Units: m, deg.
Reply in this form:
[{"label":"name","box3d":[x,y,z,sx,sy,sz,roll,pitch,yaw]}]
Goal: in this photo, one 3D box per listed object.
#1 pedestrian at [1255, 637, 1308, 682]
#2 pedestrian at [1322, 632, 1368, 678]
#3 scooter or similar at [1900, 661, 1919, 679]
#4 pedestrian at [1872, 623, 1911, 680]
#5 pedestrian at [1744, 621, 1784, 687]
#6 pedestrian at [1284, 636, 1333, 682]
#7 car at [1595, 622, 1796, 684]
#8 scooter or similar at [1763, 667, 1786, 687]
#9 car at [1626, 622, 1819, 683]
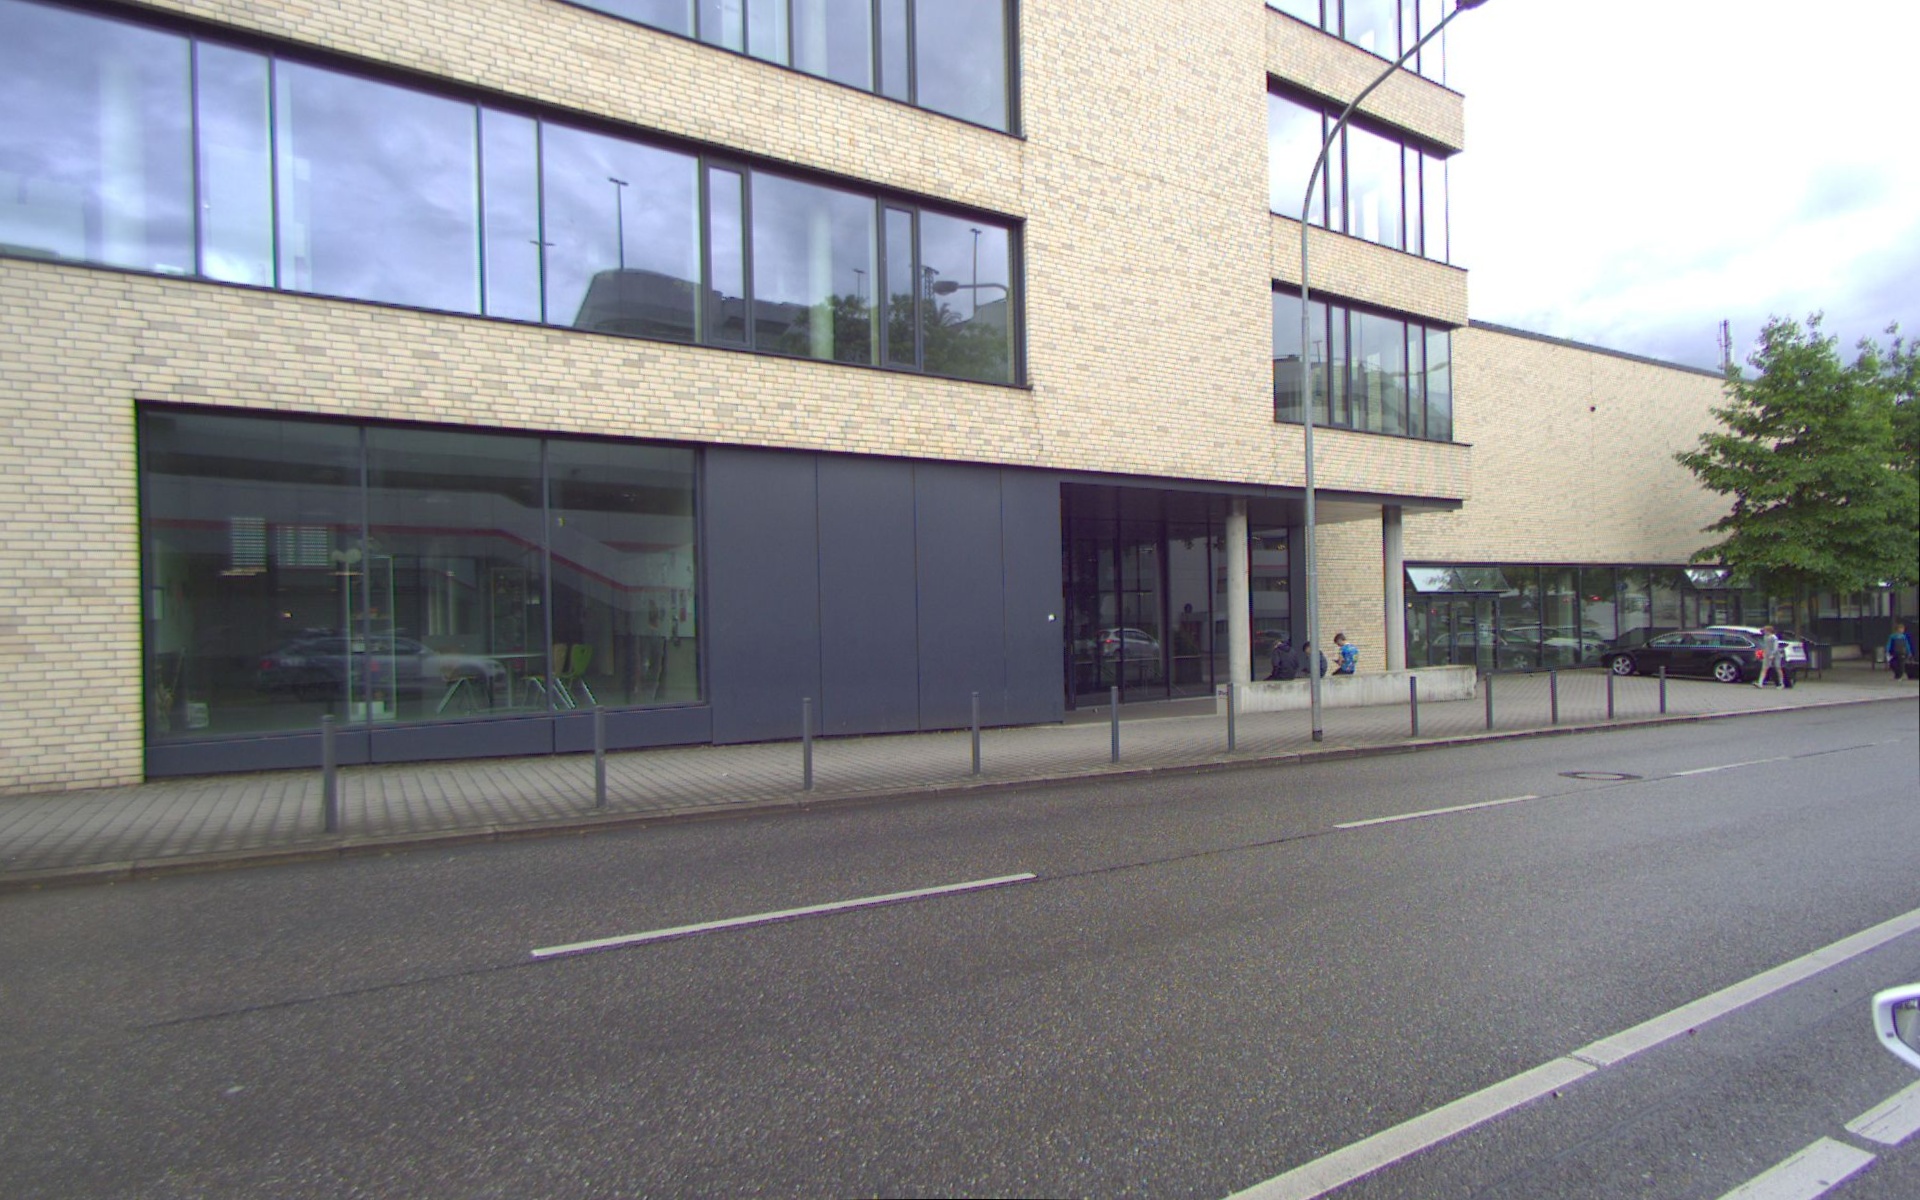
[{"label":"pedestrian","box3d":[6.142,1.132,19.205,0.751,0.796,0.595,2,0,-30]},{"label":"pedestrian","box3d":[7.803,1.111,20.364,0.519,0.897,0.677,2,0,-33]},{"label":"scooter or similar","box3d":[30.206,2.238,31.913,0.493,0.543,0.358,3,-1,-31]},{"label":"pedestrian","box3d":[29.659,1.638,31.975,0.746,1.748,0.685,4,-1,-31]},{"label":"pedestrian","box3d":[21.389,1.428,26.739,0.473,1.720,0.672,1,0,-30]},{"label":"pedestrian","box3d":[6.800,1.151,19.612,0.719,0.856,0.583,2,-1,-30]},{"label":"car","box3d":[21.758,1.512,29.878,1.981,1.608,4.437,1,-1,-36]},{"label":"scooter or similar","box3d":[21.772,2.056,26.848,0.609,0.507,0.278,2,0,-30]},{"label":"car","box3d":[23.496,1.554,31.125,1.980,1.595,4.388,-1,1,-35]}]
